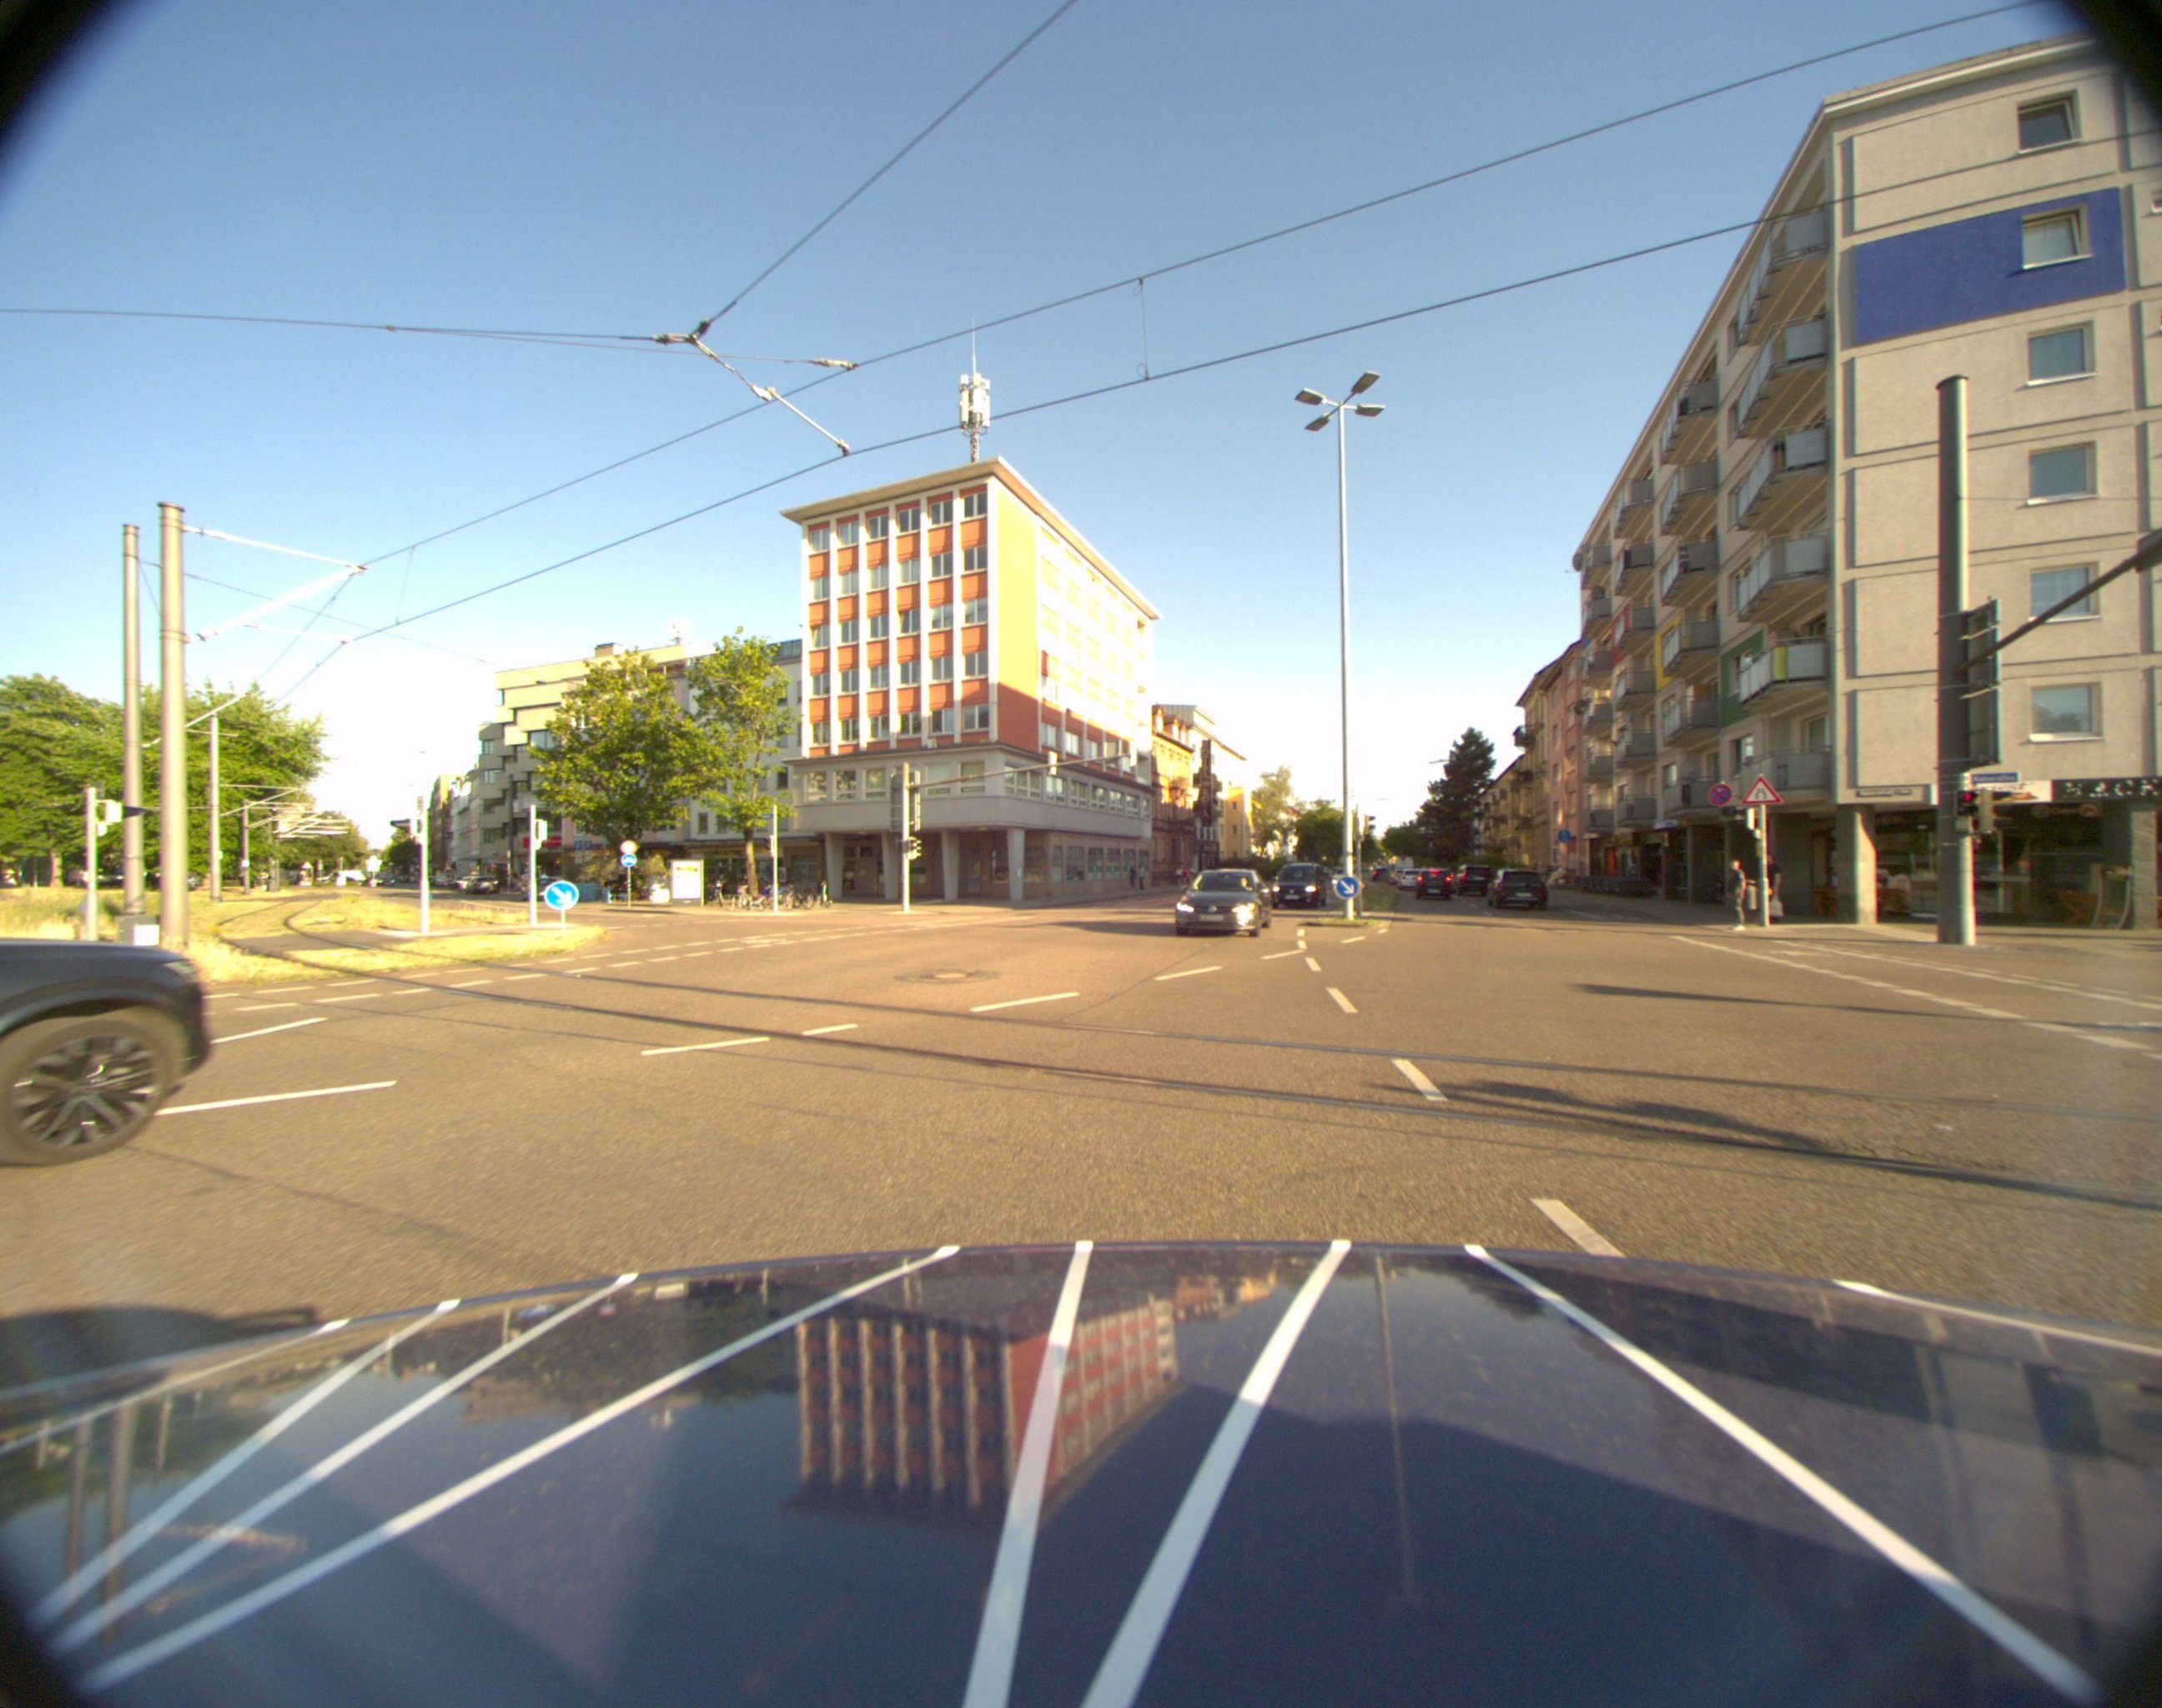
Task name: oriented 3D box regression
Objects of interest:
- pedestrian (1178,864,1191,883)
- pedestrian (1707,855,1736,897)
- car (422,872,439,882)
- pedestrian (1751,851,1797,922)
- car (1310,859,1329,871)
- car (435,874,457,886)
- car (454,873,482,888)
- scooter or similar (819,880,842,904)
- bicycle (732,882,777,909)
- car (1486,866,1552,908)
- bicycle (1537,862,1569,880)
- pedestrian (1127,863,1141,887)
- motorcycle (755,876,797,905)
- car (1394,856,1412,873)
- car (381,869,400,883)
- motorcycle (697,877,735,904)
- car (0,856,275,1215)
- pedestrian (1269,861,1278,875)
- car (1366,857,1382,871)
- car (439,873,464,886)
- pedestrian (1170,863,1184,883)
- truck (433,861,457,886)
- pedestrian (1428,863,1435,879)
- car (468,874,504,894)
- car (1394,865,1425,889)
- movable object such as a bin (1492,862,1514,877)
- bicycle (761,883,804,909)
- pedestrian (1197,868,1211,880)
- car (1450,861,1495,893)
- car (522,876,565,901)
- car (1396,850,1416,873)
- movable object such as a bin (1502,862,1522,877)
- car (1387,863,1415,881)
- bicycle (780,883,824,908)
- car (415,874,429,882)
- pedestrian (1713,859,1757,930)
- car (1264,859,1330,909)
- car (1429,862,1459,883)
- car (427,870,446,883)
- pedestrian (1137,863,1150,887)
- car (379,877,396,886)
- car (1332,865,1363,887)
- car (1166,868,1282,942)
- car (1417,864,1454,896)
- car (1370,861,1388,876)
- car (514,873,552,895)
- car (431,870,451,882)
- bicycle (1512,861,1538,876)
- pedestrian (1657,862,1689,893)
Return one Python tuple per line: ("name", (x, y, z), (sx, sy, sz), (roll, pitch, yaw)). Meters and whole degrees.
("pedestrian", (8.778, 1.652, 64.315), (0.736, 1.579, 1.013), (4, 2, 28))
("pedestrian", (25.653, 0.878, 30.437), (0.626, 1.662, 0.658), (-1, 0, -12))
("car", (-108.633, 3.905, 126.928), (3.667, 1.585, 1.810), (-1, 0, 45))
("pedestrian", (18.677, 0.876, 20.504), (0.609, 1.864, 0.814), (-3, -1, 25))
("car", (31.915, 1.461, 101.617), (1.944, 1.615, 4.201), (-1, -1, 24))
("car", (-77.965, 3.194, 93.226), (3.613, 1.375, 1.744), (-1, 0, 45))
("car", (-59.570, 2.566, 73.780), (3.381, 1.376, 1.744), (-1, 0, 45))
("scooter or similar", (-13.328, 1.997, 40.356), (1.557, 1.228, 0.485), (1, 1, 43))
("bicycle", (-14.463, 1.830, 33.626), (1.973, 1.109, 0.595), (1, 0, 22))
("car", (17.318, 1.256, 30.211), (1.796, 1.556, 4.155), (0, -1, 24))
("bicycle", (32.542, 1.173, 52.376), (1.777, 1.184, 0.474), (-1, 0, 21))
("pedestrian", (3.984, 1.562, 56.953), (0.667, 1.716, 1.013), (0, 0, 24))
("motorcycle", (-15.649, 1.862, 39.009), (0.842, 1.384, 2.268), (-2, -1, 12))
("car", (31.984, 1.056, 75.501), (1.536, 1.583, 2.813), (1, 0, 22))
("car", (-91.668, 2.963, 100.813), (3.479, 1.803, 1.653), (-1, 0, 45))
("motorcycle", (-18.380, 1.820, 38.237), (2.051, 1.300, 0.892), (0, 1, 39))
("car", (-6.329, 0.914, 2.367), (1.998, 1.714, 5.032), (-1, 1, 5))
("pedestrian", (21.879, 1.587, 86.353), (0.737, 1.593, 1.013), (2, 1, 28))
("car", (35.880, 1.230, 93.117), (1.721, 1.619, 4.108), (1, 0, 18))
("car", (-69.015, 2.757, 83.337), (3.613, 1.375, 1.744), (-1, 0, 45))
("pedestrian", (8.152, 1.613, 64.697), (0.785, 1.579, 1.013), (4, 2, 28))
("truck", (-83.136, 2.508, 99.274), (6.389, 3.201, 1.744), (-1, 0, 45))
("pedestrian", (35.302, 1.679, 76.491), (0.576, 1.591, 0.482), (-1, 0, 24))
("car", (-51.625, 2.576, 65.862), (3.862, 1.547, 1.968), (-1, 0, 45))
("car", (22.479, 1.528, 52.066), (1.677, 1.535, 3.812), (1, 0, 20))
("movable object such as a bin", (35.588, 1.303, 64.093), (1.293, 1.225, 0.928), (-1, 0, -16))
("bicycle", (-13.813, 1.930, 35.151), (2.002, 1.108, 0.595), (1, 0, 22))
("pedestrian", (11.496, 1.890, 71.204), (1.098, 1.129, 0.926), (-1, 0, 22))
("car", (22.433, 1.285, 43.662), (1.817, 1.701, 4.794), (1, 0, 22))
("car", (-33.924, 2.140, 47.923), (3.626, 1.419, 1.644), (-1, 0, 45))
("car", (38.601, 0.874, 90.339), (2.132, 2.740, 4.474), (1, 0, 23))
("movable object such as a bin", (35.814, 1.285, 63.179), (1.194, 1.225, 0.848), (-1, 0, -16))
("car", (27.739, 1.529, 65.936), (1.710, 1.417, 4.108), (1, 0, 16))
("bicycle", (-13.330, 1.964, 36.324), (2.057, 1.108, 0.595), (1, 0, 21))
("car", (-115.326, 4.144, 132.952), (3.415, 1.366, 1.499), (-1, 0, 45))
("pedestrian", (16.966, 1.043, 19.736), (0.609, 1.776, 0.814), (-4, -1, 27))
("car", (8.726, 1.118, 30.433), (1.892, 1.843, 4.474), (0, 0, 24))
("car", (27.491, 1.382, 57.620), (1.677, 1.535, 3.643), (1, 0, 20))
("car", (-92.506, 3.223, 109.121), (3.570, 1.692, 1.775), (-1, 0, 45))
("pedestrian", (4.671, 1.574, 56.624), (0.667, 1.716, 1.013), (0, 0, 25))
("car", (-105.113, 4.138, 115.098), (3.766, 1.316, 1.681), (-1, 0, 45))
("car", (19.991, 1.644, 56.918), (1.904, 1.531, 4.007), (-1, 0, 23))
("car", (3.442, 1.077, 17.643), (1.768, 1.450, 4.277), (0, 0, 23))
("car", (17.871, 1.273, 38.384), (1.579, 1.535, 3.483), (1, 0, 24))
("car", (32.527, 1.581, 83.035), (1.677, 1.535, 4.108), (1, 0, 19))
("car", (-40.390, 2.195, 55.972), (3.626, 1.537, 1.644), (-1, 0, 45))
("car", (-87.791, 2.999, 104.204), (3.570, 1.692, 1.775), (-1, 0, 45))
("bicycle", (36.461, 1.197, 62.367), (1.777, 1.184, 0.474), (-1, 0, 21))
("pedestrian", (26.609, 1.047, 34.166), (0.972, 1.338, 0.884), (-1, 0, 24))
